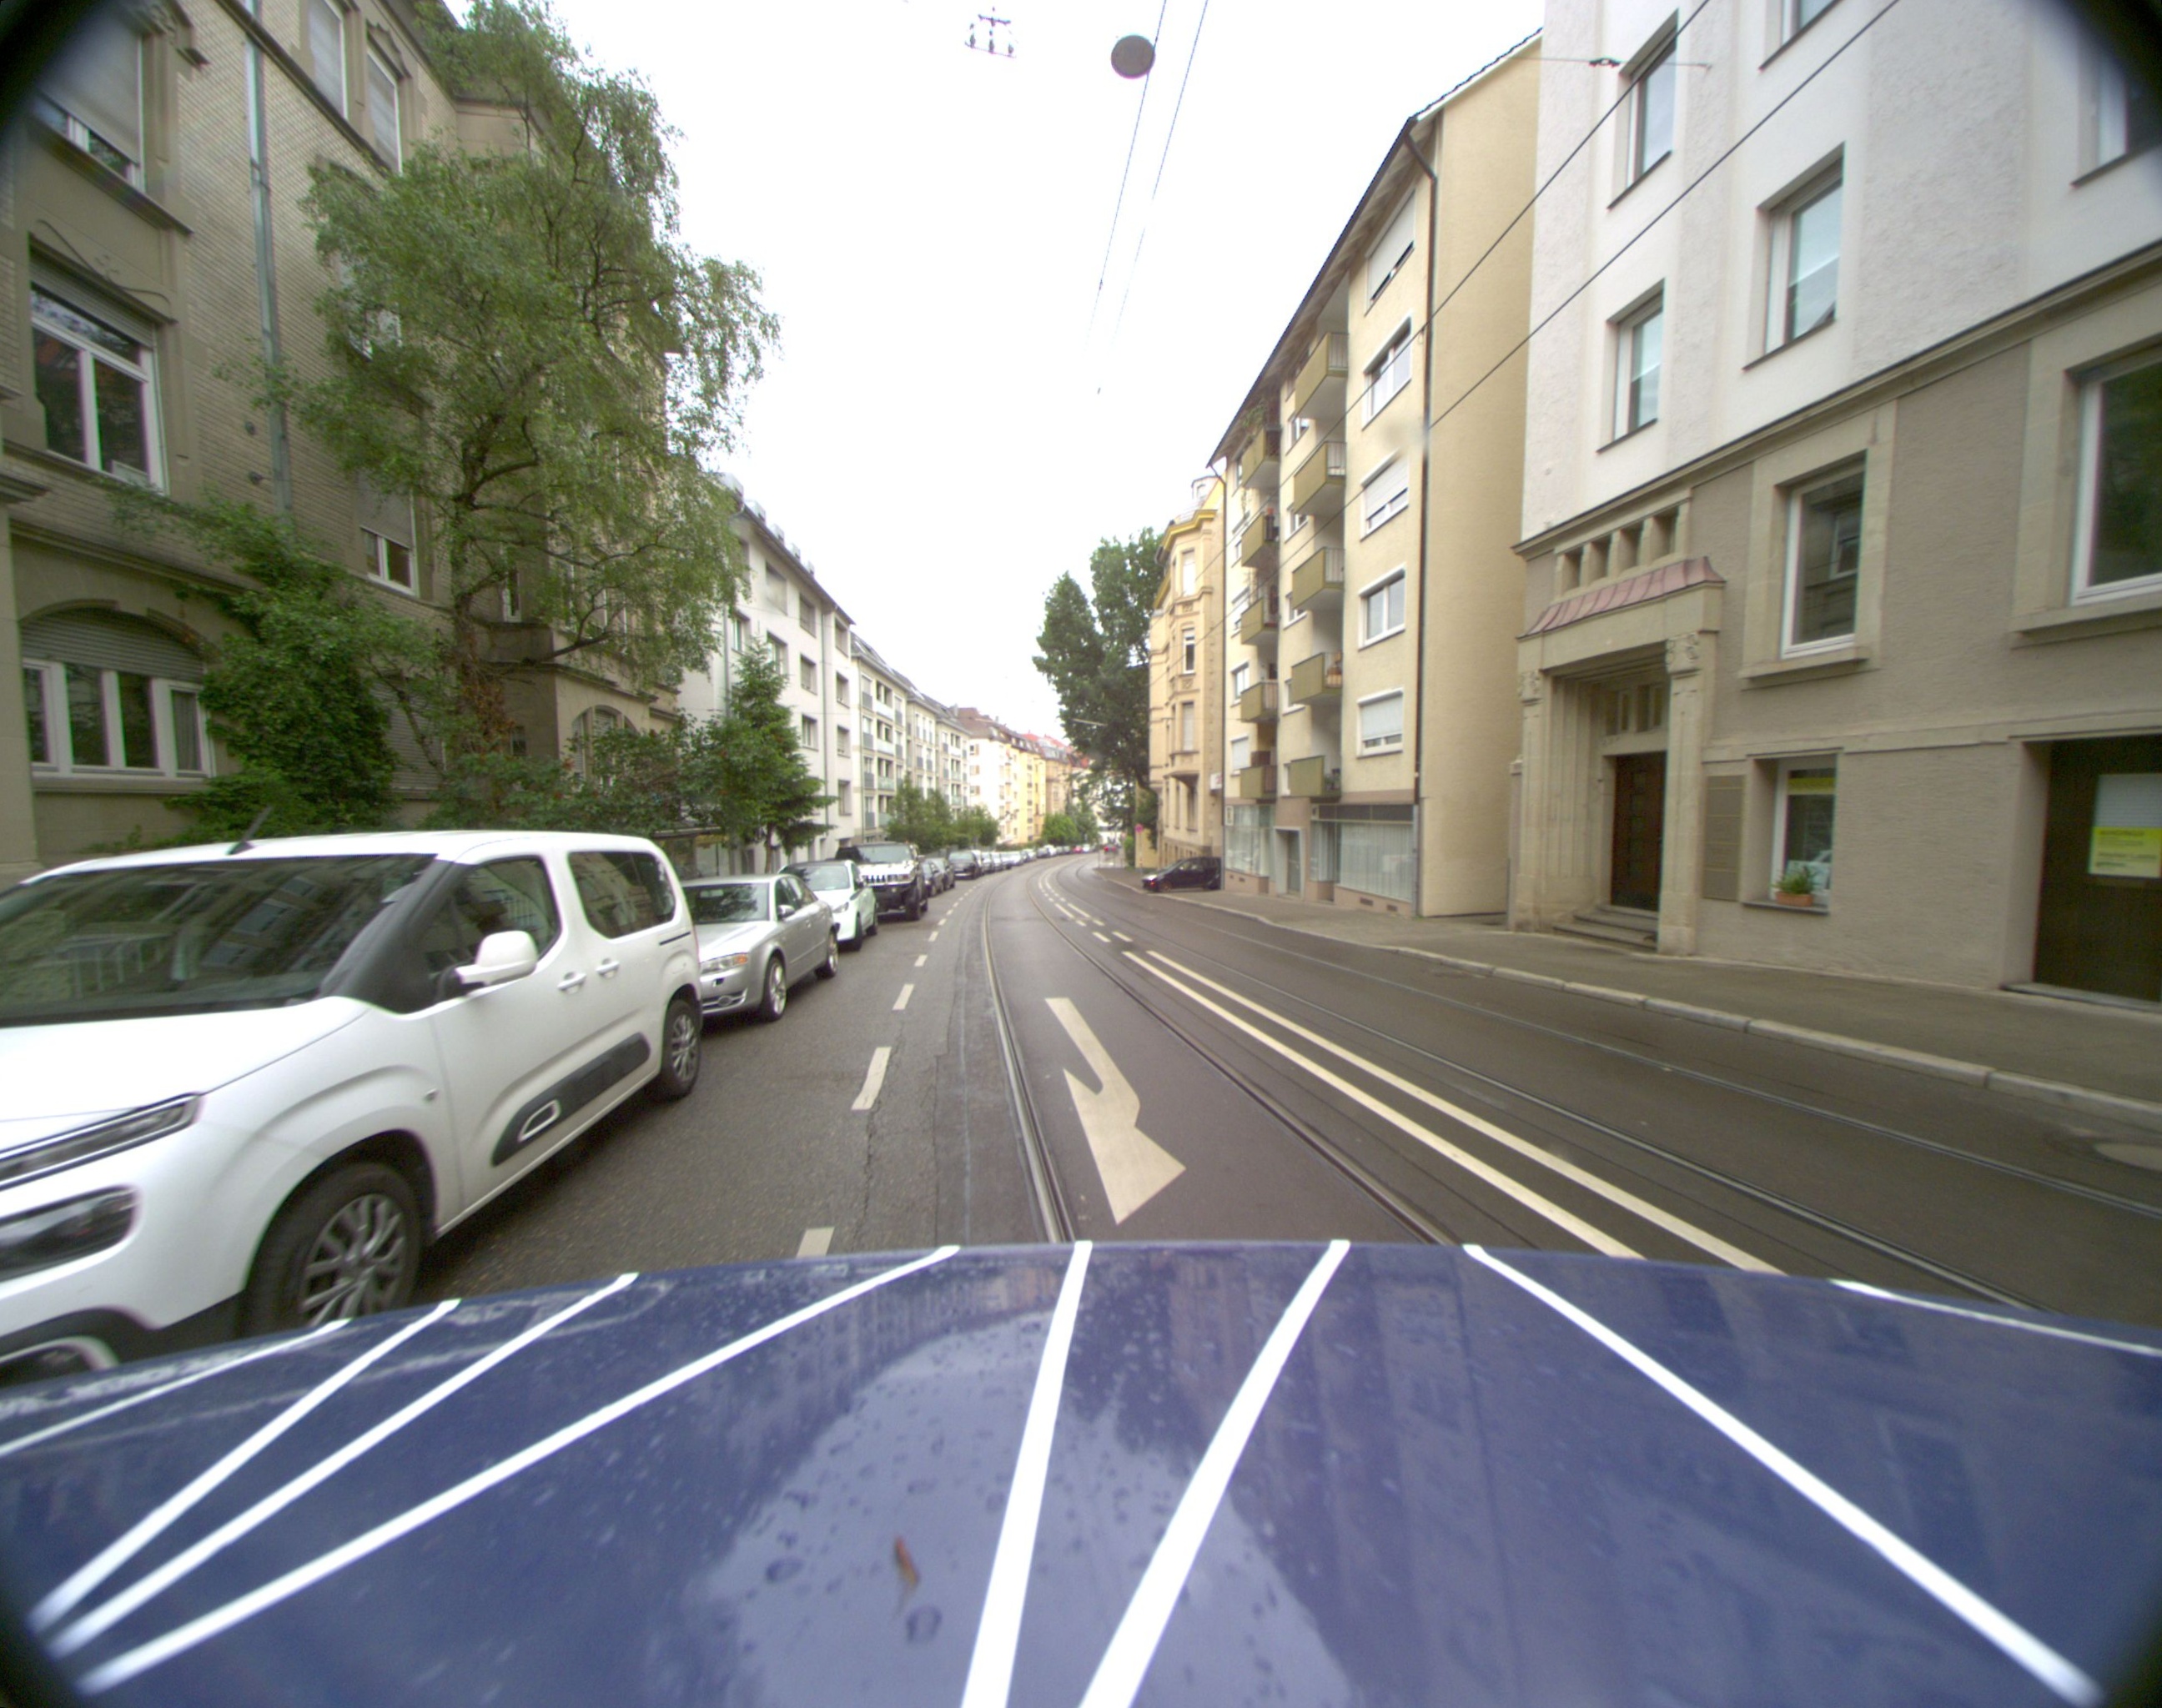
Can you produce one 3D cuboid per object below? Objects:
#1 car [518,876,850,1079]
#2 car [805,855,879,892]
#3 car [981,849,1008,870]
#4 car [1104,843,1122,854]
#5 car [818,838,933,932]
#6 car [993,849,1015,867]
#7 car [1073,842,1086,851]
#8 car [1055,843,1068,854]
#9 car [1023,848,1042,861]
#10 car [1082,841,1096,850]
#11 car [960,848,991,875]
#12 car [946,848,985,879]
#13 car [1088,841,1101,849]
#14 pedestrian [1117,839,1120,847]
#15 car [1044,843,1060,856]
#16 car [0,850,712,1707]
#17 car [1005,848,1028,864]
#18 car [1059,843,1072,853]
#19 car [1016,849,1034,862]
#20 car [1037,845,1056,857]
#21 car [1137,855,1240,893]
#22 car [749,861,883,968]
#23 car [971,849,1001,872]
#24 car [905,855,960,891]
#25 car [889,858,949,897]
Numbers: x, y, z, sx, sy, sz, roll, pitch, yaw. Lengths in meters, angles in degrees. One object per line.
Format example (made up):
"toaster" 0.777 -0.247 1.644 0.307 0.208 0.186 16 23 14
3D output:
"car" -3.934 1.076 8.517 1.754 1.392 4.475 -3 1 -7
"car" -10.698 0.816 34.324 1.817 1.418 4.153 -3 1 2
"car" -7.347 0.459 64.901 1.837 1.618 4.661 -1 1 -2
"car" 5.421 -0.933 128.844 2.067 1.668 4.775 2 3 13
"car" -5.129 0.668 19.757 2.135 2.002 5.346 -3 1 -8
"car" -7.115 0.319 70.673 1.981 1.576 4.563 -1 1 -5
"car" -0.223 -1.251 129.912 1.556 1.360 3.126 -2 2 13
"car" -2.970 -0.860 117.436 1.590 1.434 3.476 -2 2 6
"car" -5.897 -0.003 92.804 1.721 1.459 4.391 -1 1 6
"car" 1.480 -1.576 138.548 1.612 1.434 3.690 -2 2 13
"car" -7.383 0.480 53.571 1.783 1.785 4.469 -1 1 -3
"car" -7.227 0.551 47.841 1.948 1.785 4.818 -2 1 -4
"car" 2.507 -1.746 143.178 1.612 1.434 3.690 -2 2 13
"pedestrian" 8.354 -2.475 170.696 0.649 1.652 0.650 0 1 4
"car" -4.122 -0.659 108.509 1.798 1.613 3.868 -2 2 6
"car" -3.326 0.909 3.250 1.803 1.755 4.459 -3 1 -9
"car" -6.763 0.212 80.174 1.862 1.507 4.789 -1 1 2
"car" -2.474 -0.975 122.376 1.658 1.360 3.637 -2 2 8
"car" -6.459 0.118 87.813 1.600 1.416 3.515 -1 1 4
"car" -4.643 -0.418 103.072 1.797 1.444 4.104 -2 2 9
"car" 4.492 0.825 31.997 3.999 1.445 1.739 -1 1 -5
"car" -4.606 0.957 13.678 1.565 1.537 3.581 -3 1 -9
"car" -7.403 0.484 59.452 1.837 1.647 4.685 -1 1 -1
"car" -6.669 0.805 34.591 1.799 1.429 4.609 -2 1 -3
"car" -6.280 0.884 29.828 1.683 1.330 3.881 -2 1 -3
